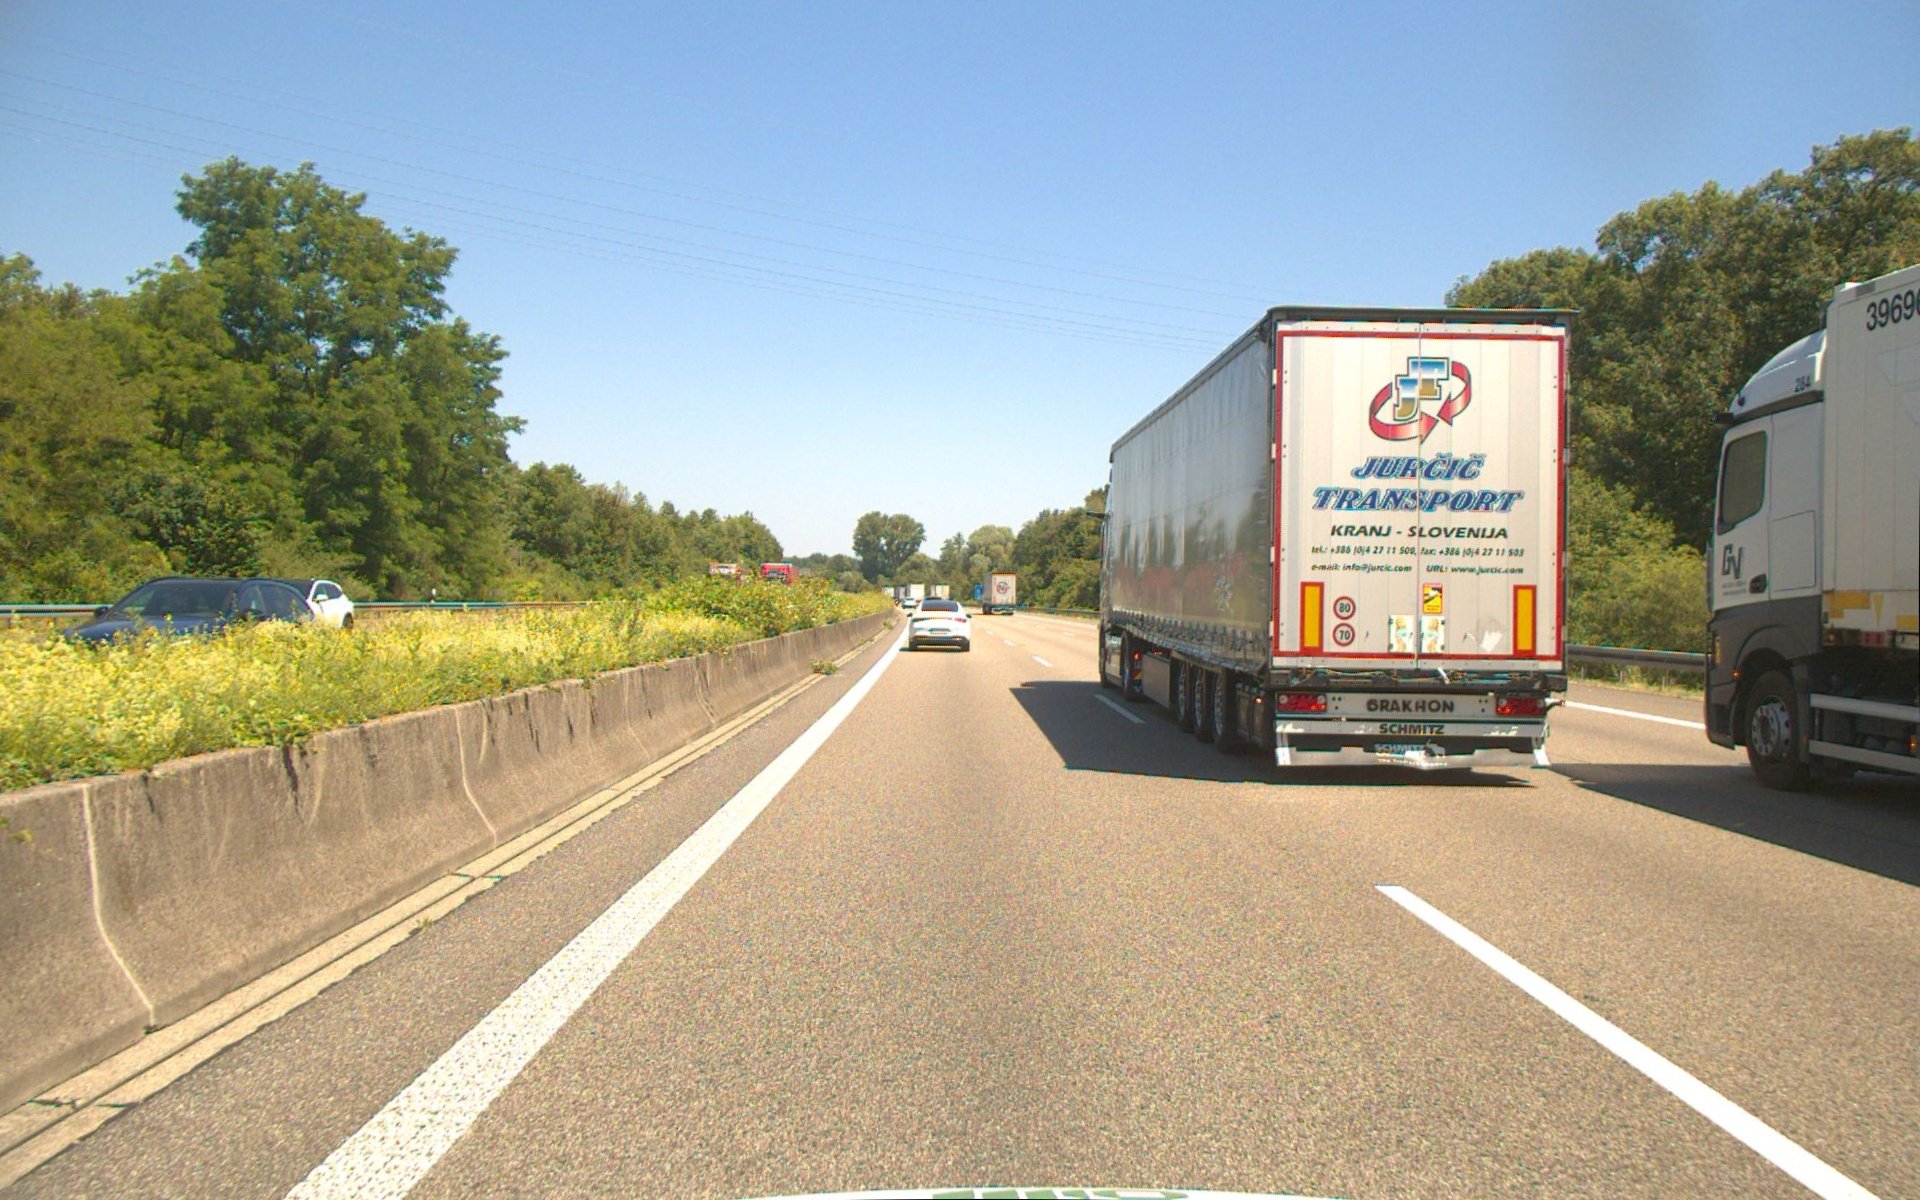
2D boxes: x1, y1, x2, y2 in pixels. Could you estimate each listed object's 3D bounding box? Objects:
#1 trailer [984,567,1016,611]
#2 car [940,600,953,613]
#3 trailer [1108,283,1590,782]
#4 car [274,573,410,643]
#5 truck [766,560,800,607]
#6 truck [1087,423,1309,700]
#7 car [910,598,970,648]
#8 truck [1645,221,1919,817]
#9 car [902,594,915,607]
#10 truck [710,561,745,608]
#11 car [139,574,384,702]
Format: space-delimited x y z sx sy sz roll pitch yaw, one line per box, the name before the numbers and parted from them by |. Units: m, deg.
trailer | 4.086 -1.077 170.938 2.571 4.335 14.057 1 0 -1
car | -1.846 0.849 220.736 1.689 1.613 3.999 1 0 -2
trailer | 3.809 -0.562 20.402 2.684 4.044 13.653 1 0 0
car | -16.093 0.196 43.333 1.777 1.716 4.761 1 0 -1
truck | -15.038 -1.398 140.909 2.416 3.854 5.726 1 0 -2
truck | 3.771 -0.568 27.679 2.667 4.044 6.500 1 0 0
car | -0.565 0.659 48.916 1.680 1.393 3.375 1 0 0
truck | 8.006 -0.555 10.832 2.475 4.202 10.667 1 0 -1
car | -7.389 0.022 237.263 1.690 1.814 3.995 1 0 -6
truck | -18.807 -1.242 133.934 2.309 3.664 4.162 1 0 -2
car | -9.157 0.461 21.976 1.614 1.536 3.467 1 0 3
